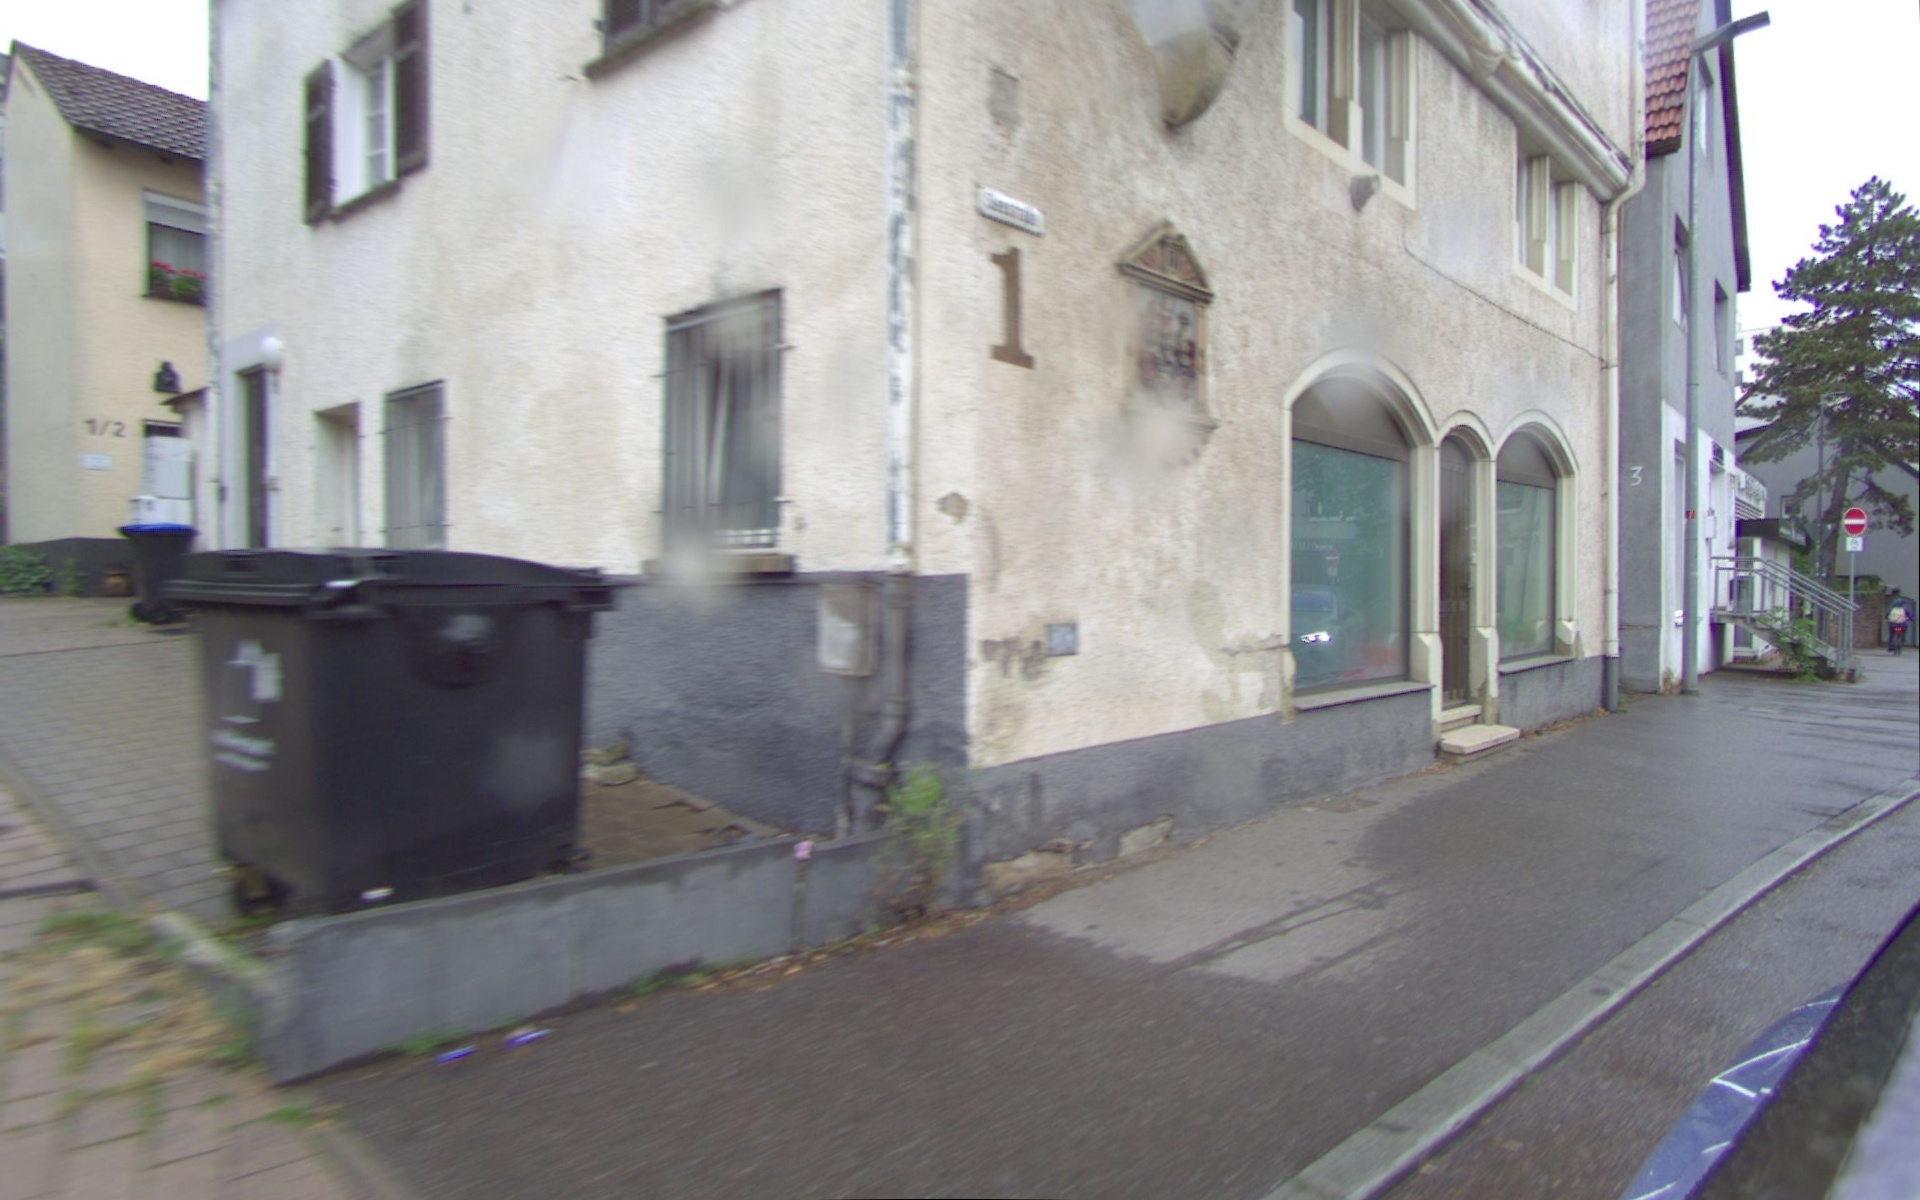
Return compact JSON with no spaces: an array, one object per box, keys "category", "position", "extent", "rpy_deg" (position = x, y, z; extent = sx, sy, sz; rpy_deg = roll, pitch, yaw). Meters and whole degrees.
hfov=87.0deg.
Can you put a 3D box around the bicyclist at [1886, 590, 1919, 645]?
[{"category":"bicyclist","position":[27.295,0.494,29.211],"extent":[0.681,1.537,1.017],"rpy_deg":[1,0,35]}]

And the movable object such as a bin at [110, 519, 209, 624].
[{"category":"movable object such as a bin","position":[-7.603,-0.292,9.616],"extent":[0.656,0.932,0.585],"rpy_deg":[4,7,41]}]

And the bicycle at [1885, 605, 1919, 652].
[{"category":"bicycle","position":[27.437,0.841,29.280],"extent":[0.759,1.048,2.053],"rpy_deg":[1,-9,36]}]

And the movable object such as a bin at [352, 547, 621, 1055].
[{"category":"movable object such as a bin","position":[-1.501,0.565,3.270],"extent":[0.409,1.459,0.639],"rpy_deg":[0,2,26]}]
